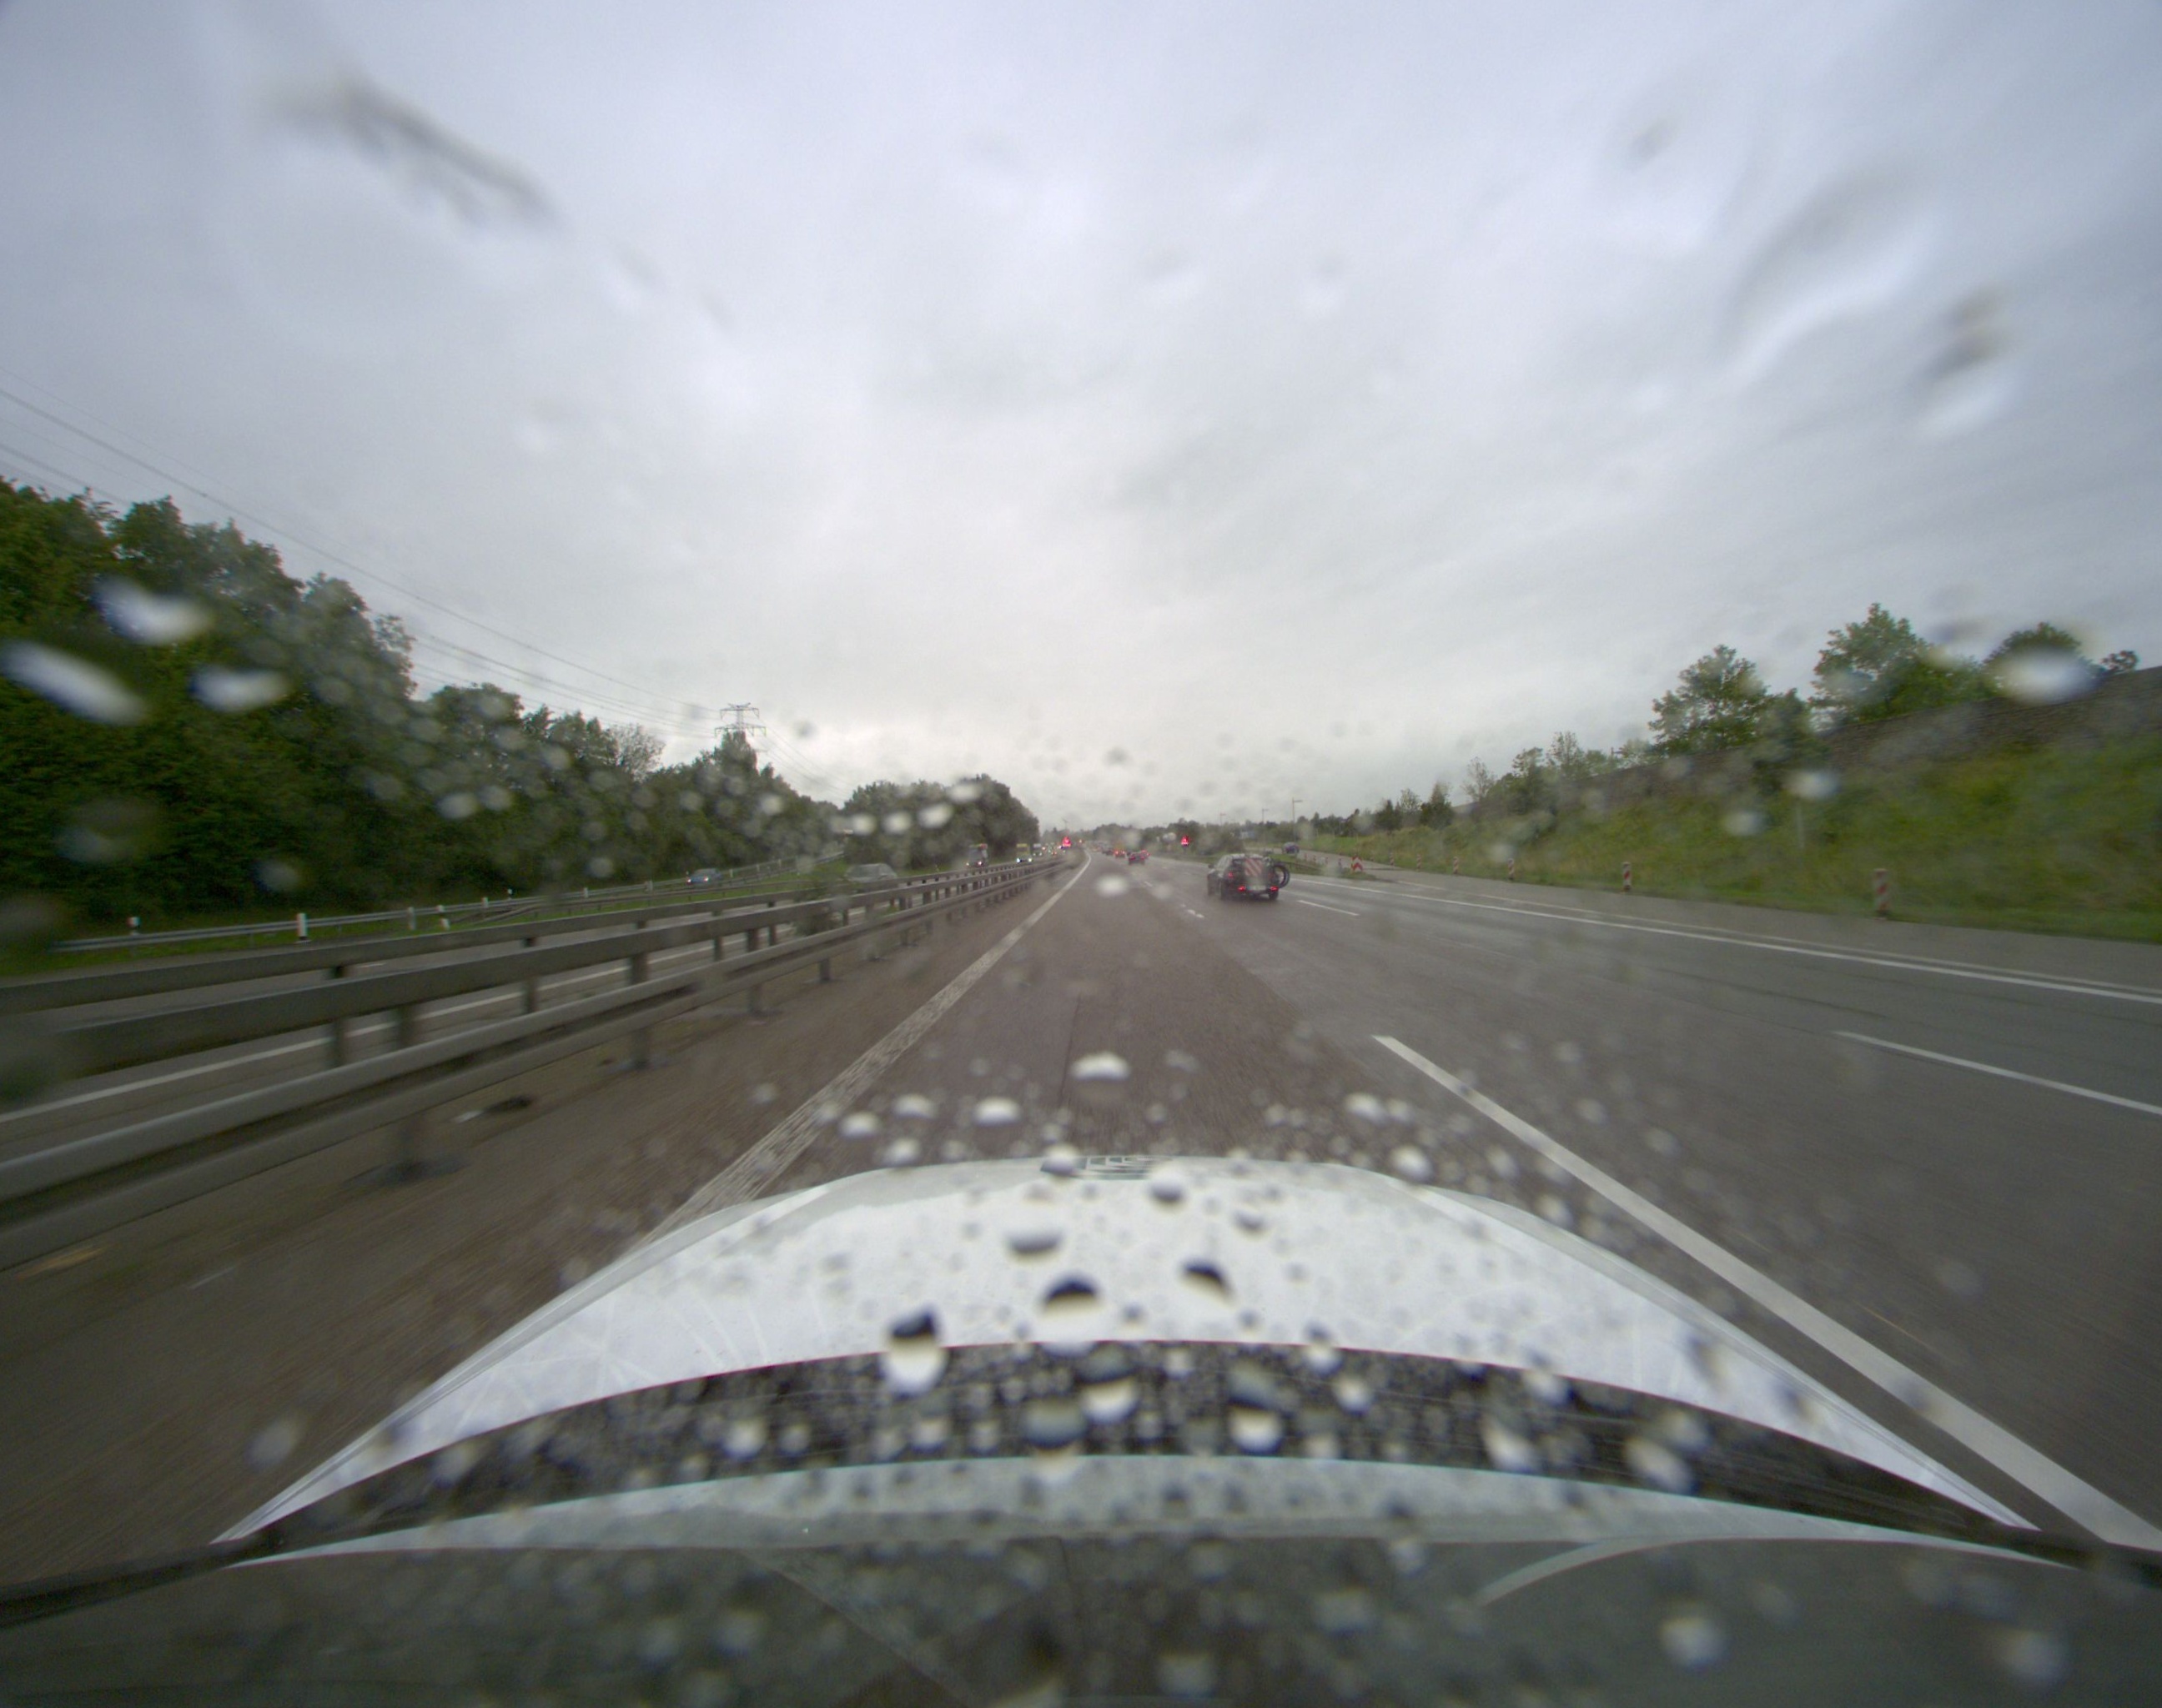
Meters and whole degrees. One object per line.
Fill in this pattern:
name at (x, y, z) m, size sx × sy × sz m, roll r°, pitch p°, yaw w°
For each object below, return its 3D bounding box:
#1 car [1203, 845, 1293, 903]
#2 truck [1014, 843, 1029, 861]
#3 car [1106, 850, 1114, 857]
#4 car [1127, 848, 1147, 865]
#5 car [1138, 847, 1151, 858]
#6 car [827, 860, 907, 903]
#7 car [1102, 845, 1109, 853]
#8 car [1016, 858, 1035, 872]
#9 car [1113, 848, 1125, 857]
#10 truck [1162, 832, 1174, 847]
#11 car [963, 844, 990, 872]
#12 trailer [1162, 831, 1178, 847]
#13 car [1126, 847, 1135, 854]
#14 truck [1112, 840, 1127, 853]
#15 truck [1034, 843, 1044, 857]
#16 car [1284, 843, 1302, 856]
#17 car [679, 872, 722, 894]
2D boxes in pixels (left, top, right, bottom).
car at (5.290, 0.609, 26.566) m, size 2.049 × 1.671 × 5.525 m, roll -1°, pitch -1°, yaw 3°
truck at (-13.791, -0.496, 189.160) m, size 2.753 × 4.055 × 6.157 m, roll -4°, pitch 0°, yaw 1°
car at (7.345, -0.193, 207.655) m, size 1.987 × 1.628 × 4.000 m, roll -3°, pitch 0°, yaw 0°
car at (6.456, 0.268, 93.678) m, size 1.987 × 1.761 × 4.000 m, roll -3°, pitch 0°, yaw 0°
car at (11.207, -0.274, 143.099) m, size 1.987 × 1.761 × 4.000 m, roll 1°, pitch 0°, yaw 0°
car at (-8.674, 1.072, 33.424) m, size 1.815 × 1.512 × 4.792 m, roll -3°, pitch 0°, yaw 2°
car at (7.653, -1.585, 257.452) m, size 1.987 × 2.205 × 4.000 m, roll -3°, pitch 0°, yaw 0°
car at (-7.040, 1.349, 103.649) m, size 1.917 × 1.656 × 4.792 m, roll -3°, pitch 0°, yaw 1°
car at (7.435, -0.312, 160.050) m, size 1.987 × 1.628 × 4.000 m, roll -3°, pitch 0°, yaw 0°
truck at (25.191, -4.088, 236.673) m, size 2.939 × 4.145 × 4.923 m, roll -3°, pitch 0°, yaw 1°
car at (-12.939, 0.483, 101.345) m, size 2.246 × 3.327 × 6.177 m, roll -3°, pitch 0°, yaw 2°
trailer at (25.116, -4.061, 229.452) m, size 2.975 × 4.156 × 12.956 m, roll -3°, pitch 0°, yaw 0°
car at (12.685, -0.810, 208.165) m, size 1.987 × 1.628 × 4.000 m, roll -3°, pitch 0°, yaw 0°
truck at (12.048, -2.344, 255.380) m, size 3.911 × 3.981 × 12.240 m, roll -3°, pitch 0°, yaw 0°
truck at (-13.397, -1.147, 258.122) m, size 2.634 × 4.237 × 4.001 m, roll -2°, pitch 0°, yaw 1°
car at (29.608, -0.637, 113.776) m, size 1.912 × 1.709 × 4.008 m, roll -3°, pitch 0°, yaw 7°
car at (-30.591, 2.341, 65.566) m, size 1.967 × 1.543 × 3.989 m, roll -3°, pitch 0°, yaw -8°
